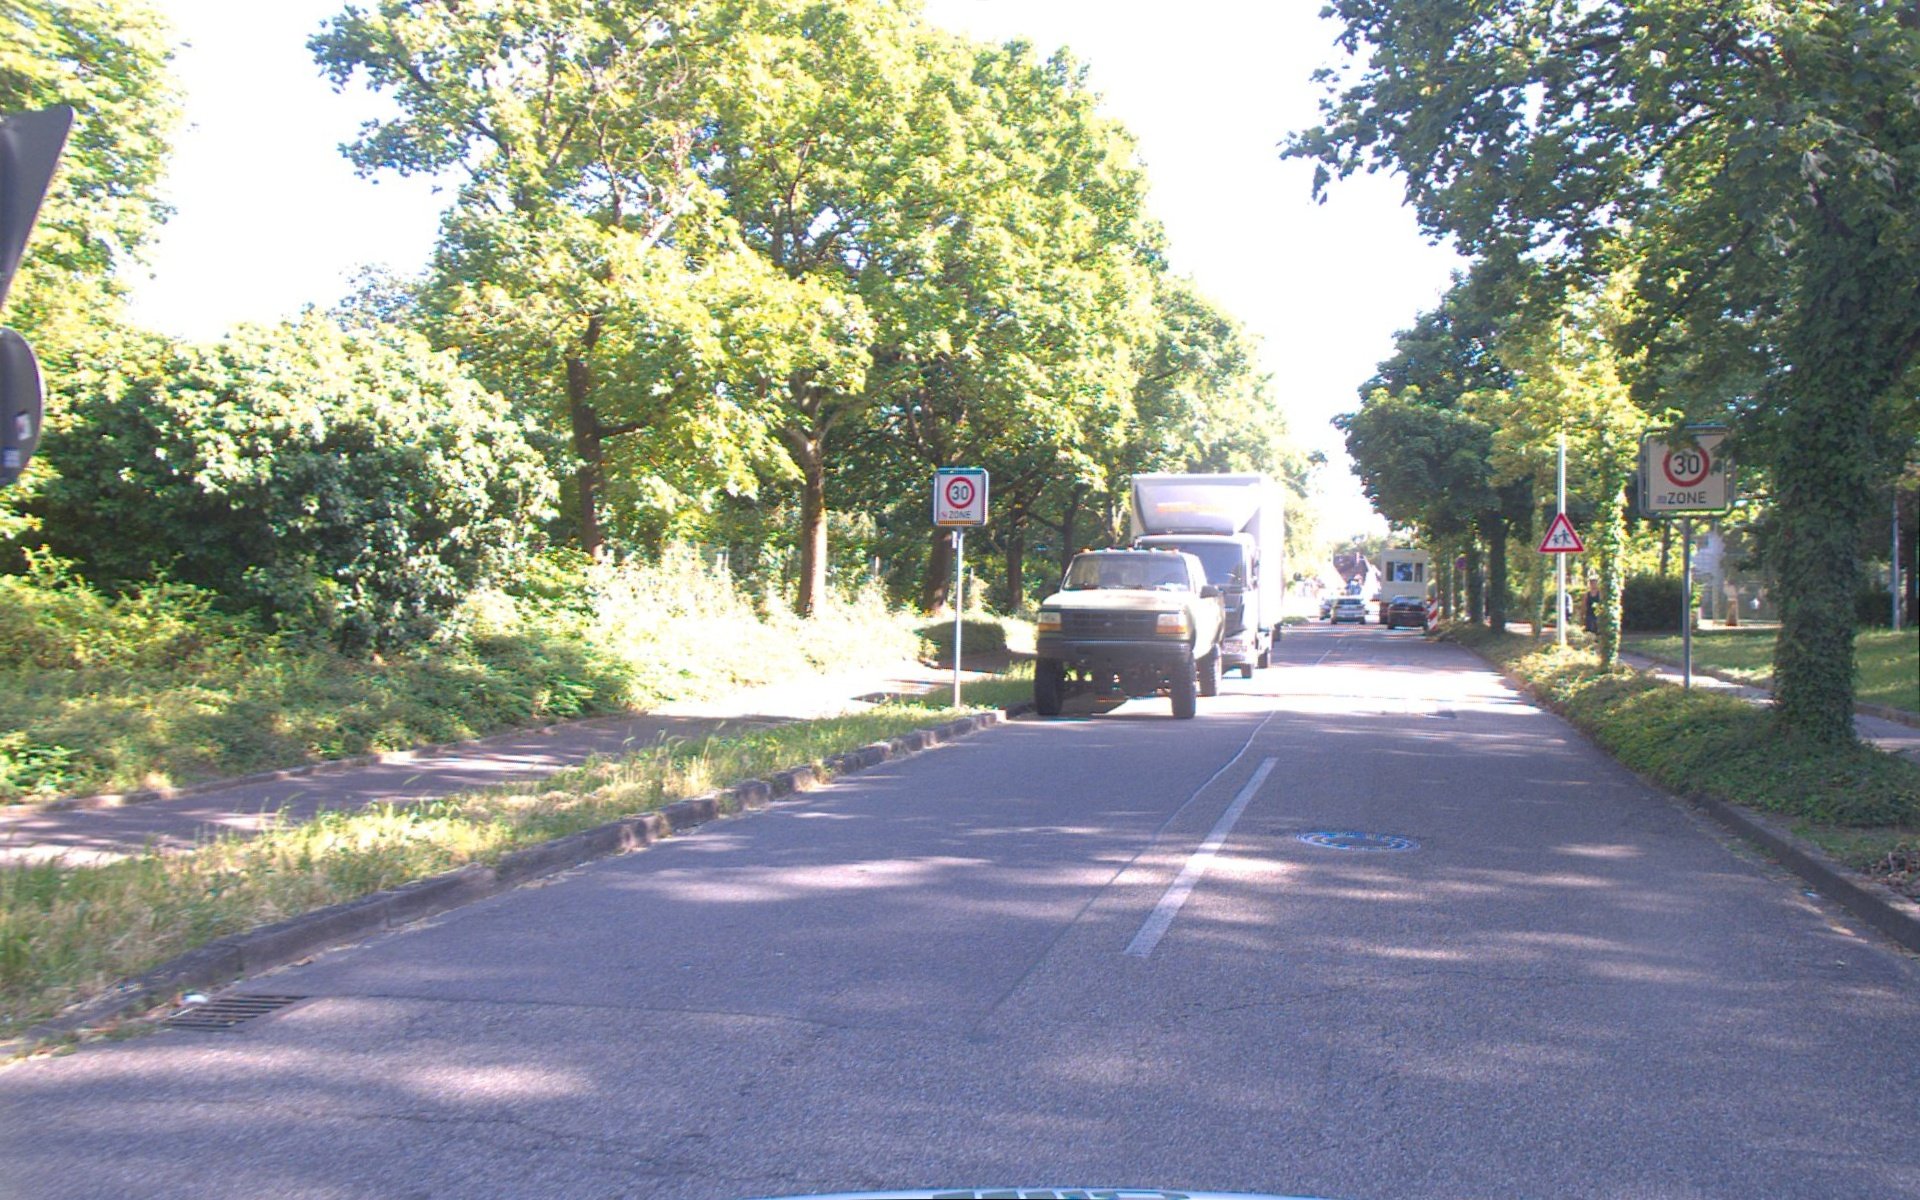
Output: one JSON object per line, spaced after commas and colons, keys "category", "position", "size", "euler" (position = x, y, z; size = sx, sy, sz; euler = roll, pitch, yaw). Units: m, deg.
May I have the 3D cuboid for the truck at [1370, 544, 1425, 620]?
{"category": "truck", "position": [24.768, -1.015, 93.678], "size": [2.826, 4.013, 10.008], "euler": [1, 1, 15]}

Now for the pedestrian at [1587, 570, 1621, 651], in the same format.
{"category": "pedestrian", "position": [14.919, 0.249, 38.338], "size": [0.634, 1.852, 0.650], "euler": [1, 0, 15]}

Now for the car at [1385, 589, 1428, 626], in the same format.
{"category": "car", "position": [19.465, 0.315, 72.164], "size": [1.756, 1.536, 4.003], "euler": [1, 0, 15]}

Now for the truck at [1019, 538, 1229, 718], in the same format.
{"category": "truck", "position": [2.487, 0.311, 23.097], "size": [2.068, 2.130, 6.653], "euler": [0, 0, 13]}

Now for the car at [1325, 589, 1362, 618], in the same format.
{"category": "car", "position": [20.563, 0.180, 88.576], "size": [1.756, 1.536, 4.003], "euler": [1, 0, 15]}

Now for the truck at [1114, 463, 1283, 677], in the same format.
{"category": "truck", "position": [4.895, -0.532, 32.660], "size": [2.558, 3.690, 7.963], "euler": [0, 0, 14]}
